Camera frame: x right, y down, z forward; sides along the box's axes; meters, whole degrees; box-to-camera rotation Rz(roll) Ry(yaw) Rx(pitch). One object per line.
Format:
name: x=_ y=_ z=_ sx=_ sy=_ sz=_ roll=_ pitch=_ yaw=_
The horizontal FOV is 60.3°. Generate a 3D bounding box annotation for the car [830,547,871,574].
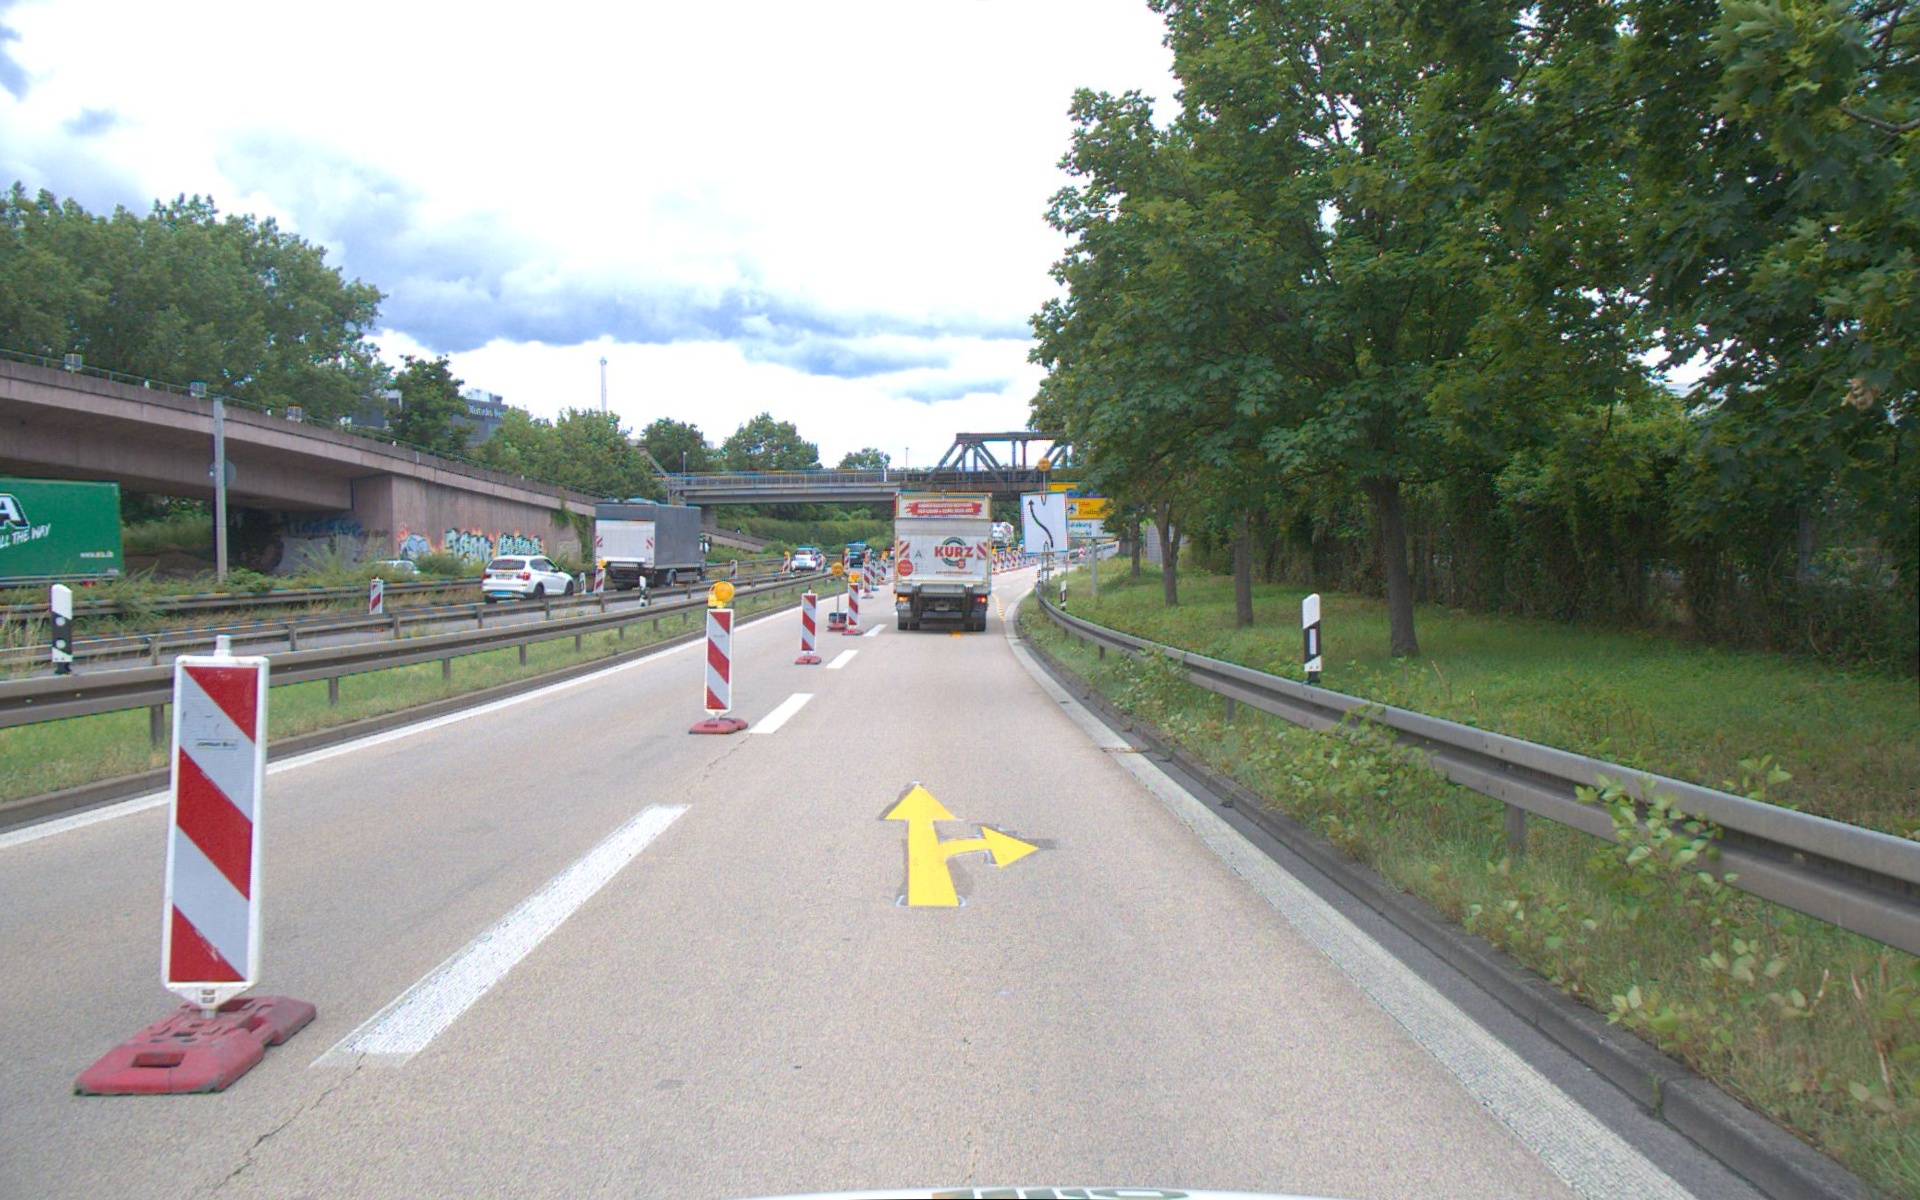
car: x=-6.743 y=-2.440 z=102.221 sx=1.952 sy=1.646 sz=4.003 roll=0 pitch=1 yaw=4

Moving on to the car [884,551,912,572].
car: x=-5.066 y=-3.158 z=135.630 sx=1.952 sy=1.646 sz=4.003 roll=0 pitch=1 yaw=4

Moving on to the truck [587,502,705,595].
truck: x=-13.105 y=-2.147 z=69.677 sx=2.986 sy=3.719 sz=7.400 roll=0 pitch=1 yaw=5

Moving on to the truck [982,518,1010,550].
truck: x=4.578 y=-8.380 z=210.044 sx=3.217 sy=3.919 sz=7.669 roll=0 pitch=1 yaw=4

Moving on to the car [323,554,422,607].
car: x=-23.457 y=-0.809 z=66.165 sx=1.951 sy=2.048 sz=4.004 roll=0 pitch=1 yaw=11

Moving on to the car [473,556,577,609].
car: x=-14.760 y=-0.626 z=56.347 sx=1.951 sy=1.742 sz=4.105 roll=0 pitch=1 yaw=8

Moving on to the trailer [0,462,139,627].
trailer: x=-26.936 y=-1.449 z=42.970 sx=2.712 sy=4.369 sz=13.992 roll=0 pitch=1 yaw=7

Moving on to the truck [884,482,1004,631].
truck: x=-0.377 y=-1.144 z=45.447 sx=2.988 sy=3.737 sz=7.928 roll=0 pitch=1 yaw=0

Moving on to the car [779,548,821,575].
car: x=-9.784 y=-2.377 z=101.623 sx=1.952 sy=1.646 sz=4.003 roll=0 pitch=1 yaw=4
